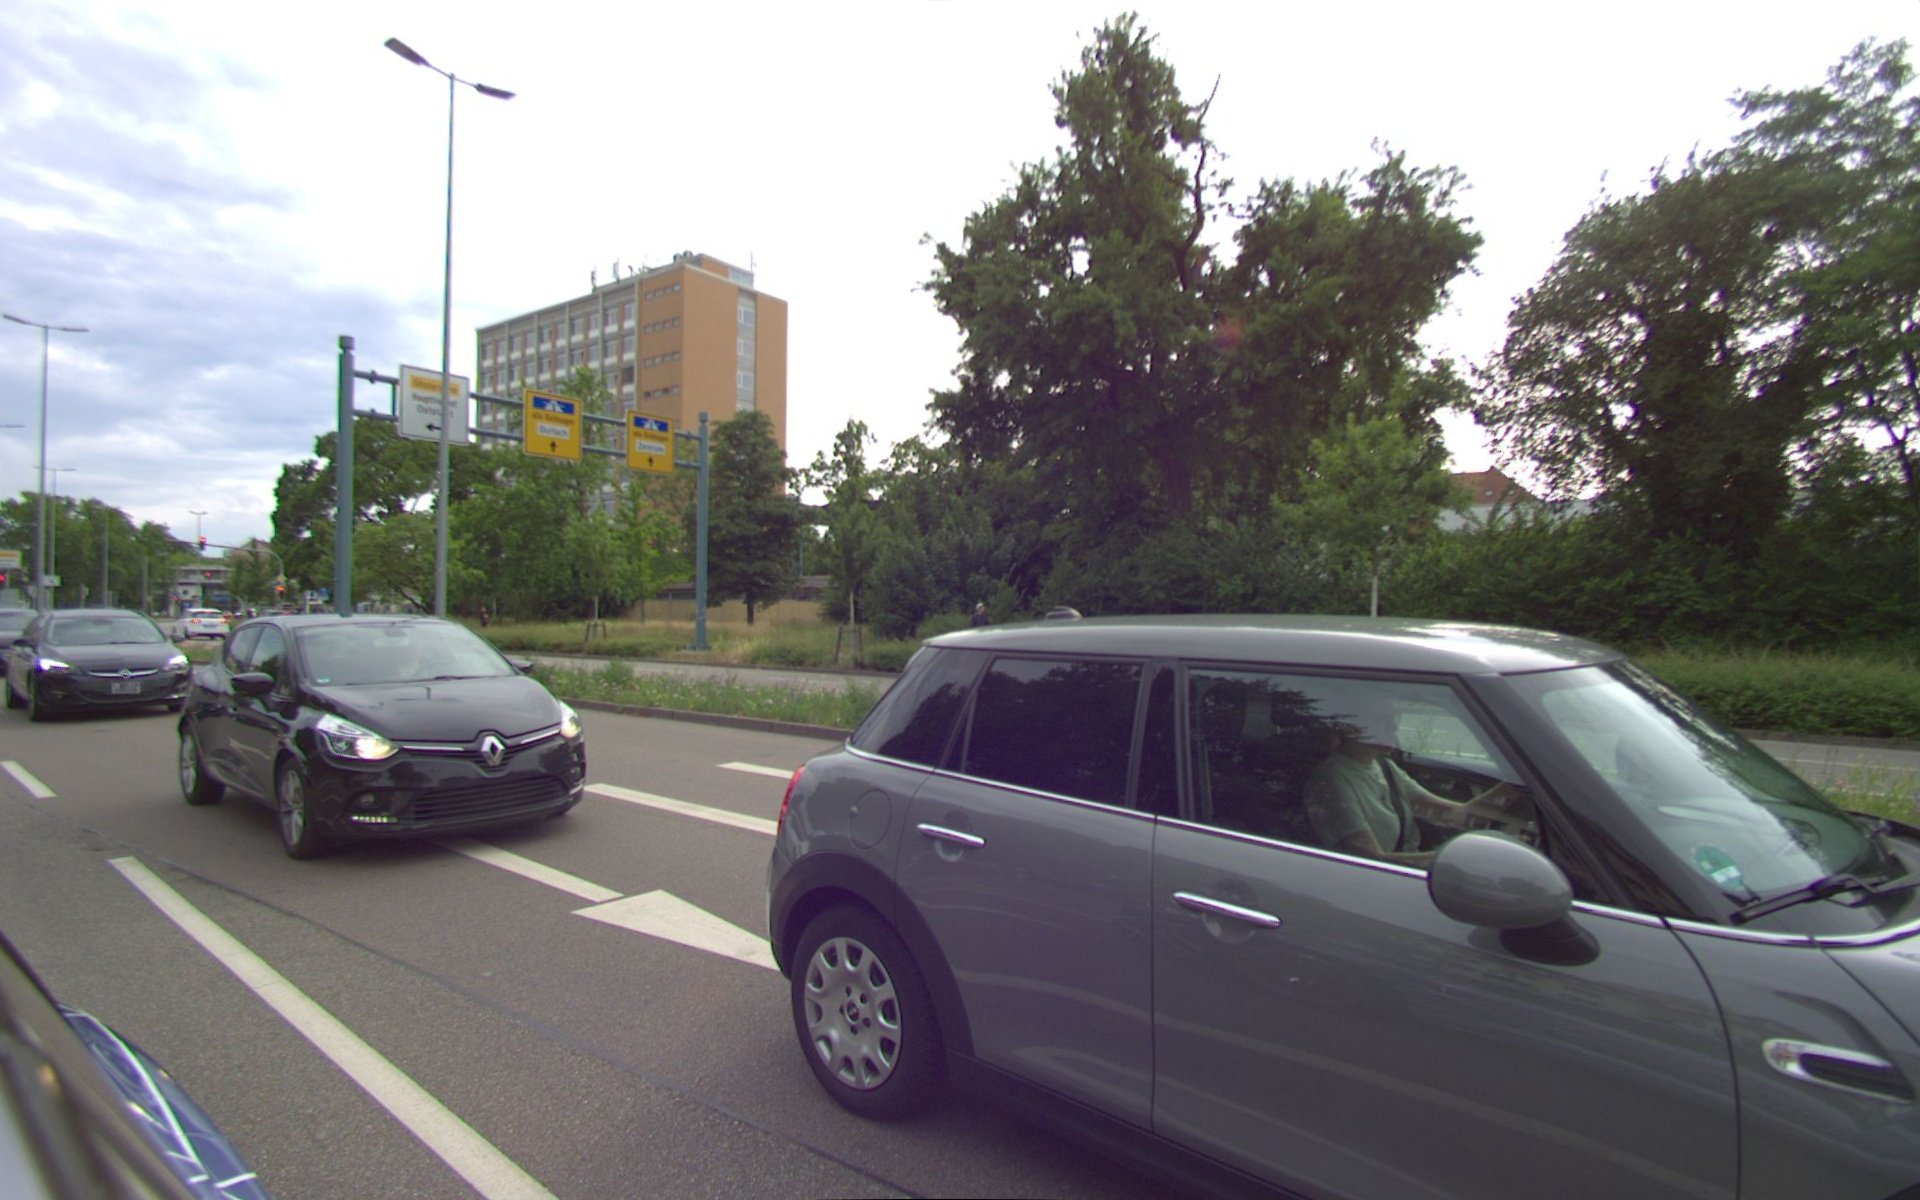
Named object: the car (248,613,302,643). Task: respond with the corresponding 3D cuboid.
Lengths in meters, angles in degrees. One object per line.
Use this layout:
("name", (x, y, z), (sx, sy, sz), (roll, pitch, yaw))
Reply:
("car", (-36.840, 1.476, 54.393), (1.828, 1.564, 4.005), (1, -1, -42))

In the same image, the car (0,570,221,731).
("car", (-12.605, 0.673, 14.859), (3.998, 2.029, 1.973), (-1, -2, 41))

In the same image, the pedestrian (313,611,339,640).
("pedestrian", (-45.356, 1.813, 72.392), (1.519, 2.029, 1.208), (0, 0, 41))

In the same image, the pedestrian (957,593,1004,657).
("pedestrian", (0.541, 0.650, 26.727), (0.812, 1.637, 0.978), (-1, 0, 38))

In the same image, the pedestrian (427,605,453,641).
("pedestrian", (-29.939, 1.321, 58.264), (1.218, 2.029, 0.872), (-1, 0, 33))

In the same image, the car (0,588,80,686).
("car", (-21.207, 0.789, 22.458), (3.998, 2.029, 1.973), (-1, -2, 41))

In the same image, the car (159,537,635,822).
("car", (-4.167, 0.444, 7.214), (3.998, 1.470, 1.709), (0, -2, 41))

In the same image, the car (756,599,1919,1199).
("car", (1.323, 0.688, 2.348), (3.704, 1.328, 1.604), (0, -2, 41))

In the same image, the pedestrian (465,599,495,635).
("pedestrian", (-26.246, 0.912, 55.312), (1.163, 1.933, 1.122), (0, 0, 44))

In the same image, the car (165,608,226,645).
("car", (-39.713, 1.327, 52.556), (4.000, 1.786, 1.868), (0, 0, 43))

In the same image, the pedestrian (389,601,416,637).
("pedestrian", (-31.859, 1.071, 57.807), (1.218, 2.029, 0.872), (-1, 0, 33))
